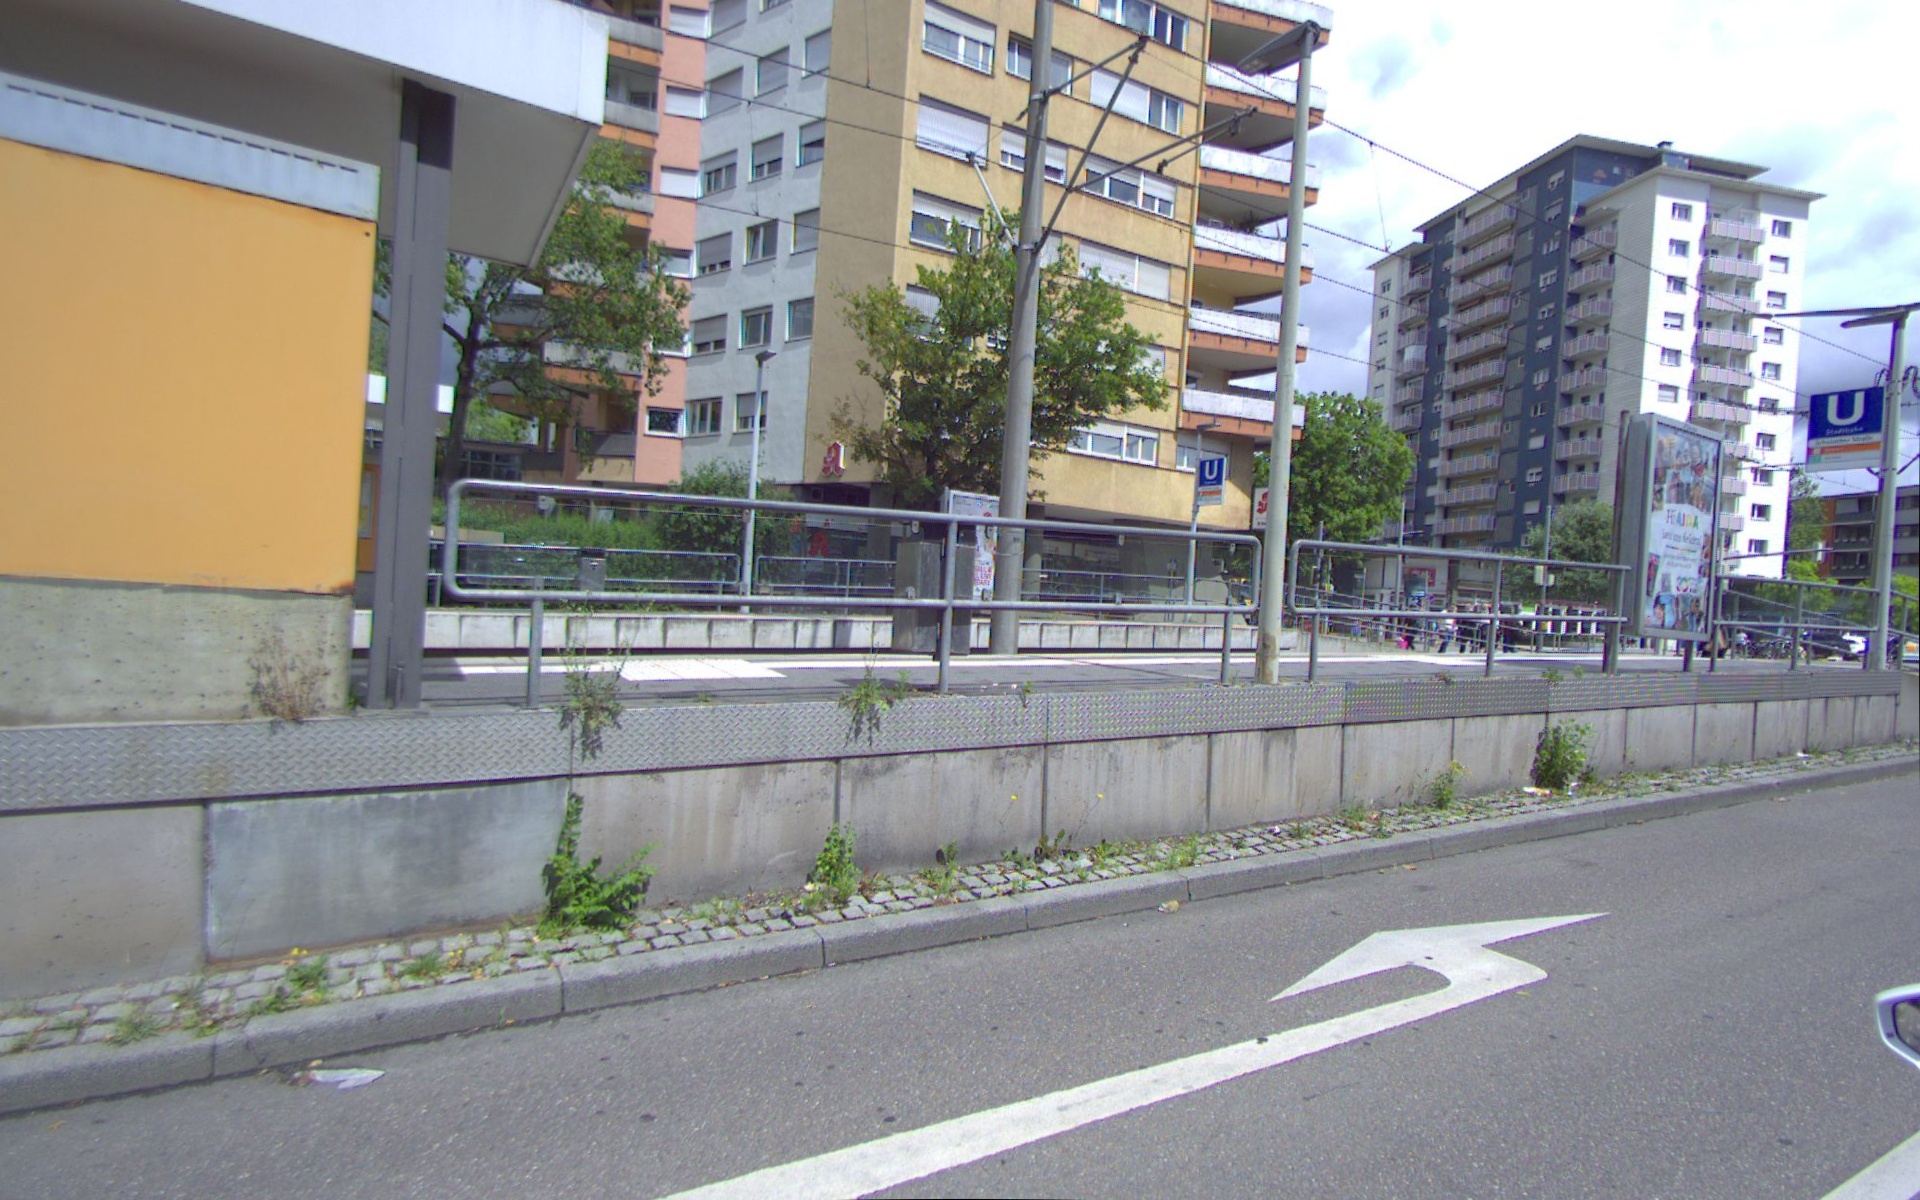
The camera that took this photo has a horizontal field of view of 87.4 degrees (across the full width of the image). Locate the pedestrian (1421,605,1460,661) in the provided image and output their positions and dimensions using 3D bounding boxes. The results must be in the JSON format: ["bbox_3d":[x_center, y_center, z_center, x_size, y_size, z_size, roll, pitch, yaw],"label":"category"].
[{"bbox_3d":[15.052,1.021,31.469,0.680,1.719,0.854,1,0,-28],"label":"pedestrian"}]

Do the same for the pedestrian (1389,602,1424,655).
[{"bbox_3d":[13.856,0.873,31.203,0.759,1.604,0.610,2,0,-1],"label":"pedestrian"}]

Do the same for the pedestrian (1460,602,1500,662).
[{"bbox_3d":[15.347,0.944,29.657,0.669,1.729,0.826,2,0,-4],"label":"pedestrian"}]

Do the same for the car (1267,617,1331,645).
[{"bbox_3d":[22.110,1.997,65.548,1.726,1.702,3.661,2,-1,-33],"label":"car"}]

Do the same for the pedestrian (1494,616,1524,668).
[{"bbox_3d":[14.880,1.118,27.207,0.677,1.360,0.859,2,0,30],"label":"pedestrian"}]

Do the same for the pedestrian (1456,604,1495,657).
[{"bbox_3d":[15.972,0.953,31.137,0.616,1.599,0.853,1,0,-31],"label":"pedestrian"}]

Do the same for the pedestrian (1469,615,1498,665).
[{"bbox_3d":[14.718,1.122,28.246,0.543,1.360,0.669,2,0,12],"label":"pedestrian"}]

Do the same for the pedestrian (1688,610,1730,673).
[{"bbox_3d":[19.980,1.106,26.787,0.630,1.654,0.697,1,-1,-30],"label":"pedestrian"}]

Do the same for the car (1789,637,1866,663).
[{"bbox_3d":[57.033,3.277,66.091,1.602,1.482,3.576,2,0,-38],"label":"car"}]
